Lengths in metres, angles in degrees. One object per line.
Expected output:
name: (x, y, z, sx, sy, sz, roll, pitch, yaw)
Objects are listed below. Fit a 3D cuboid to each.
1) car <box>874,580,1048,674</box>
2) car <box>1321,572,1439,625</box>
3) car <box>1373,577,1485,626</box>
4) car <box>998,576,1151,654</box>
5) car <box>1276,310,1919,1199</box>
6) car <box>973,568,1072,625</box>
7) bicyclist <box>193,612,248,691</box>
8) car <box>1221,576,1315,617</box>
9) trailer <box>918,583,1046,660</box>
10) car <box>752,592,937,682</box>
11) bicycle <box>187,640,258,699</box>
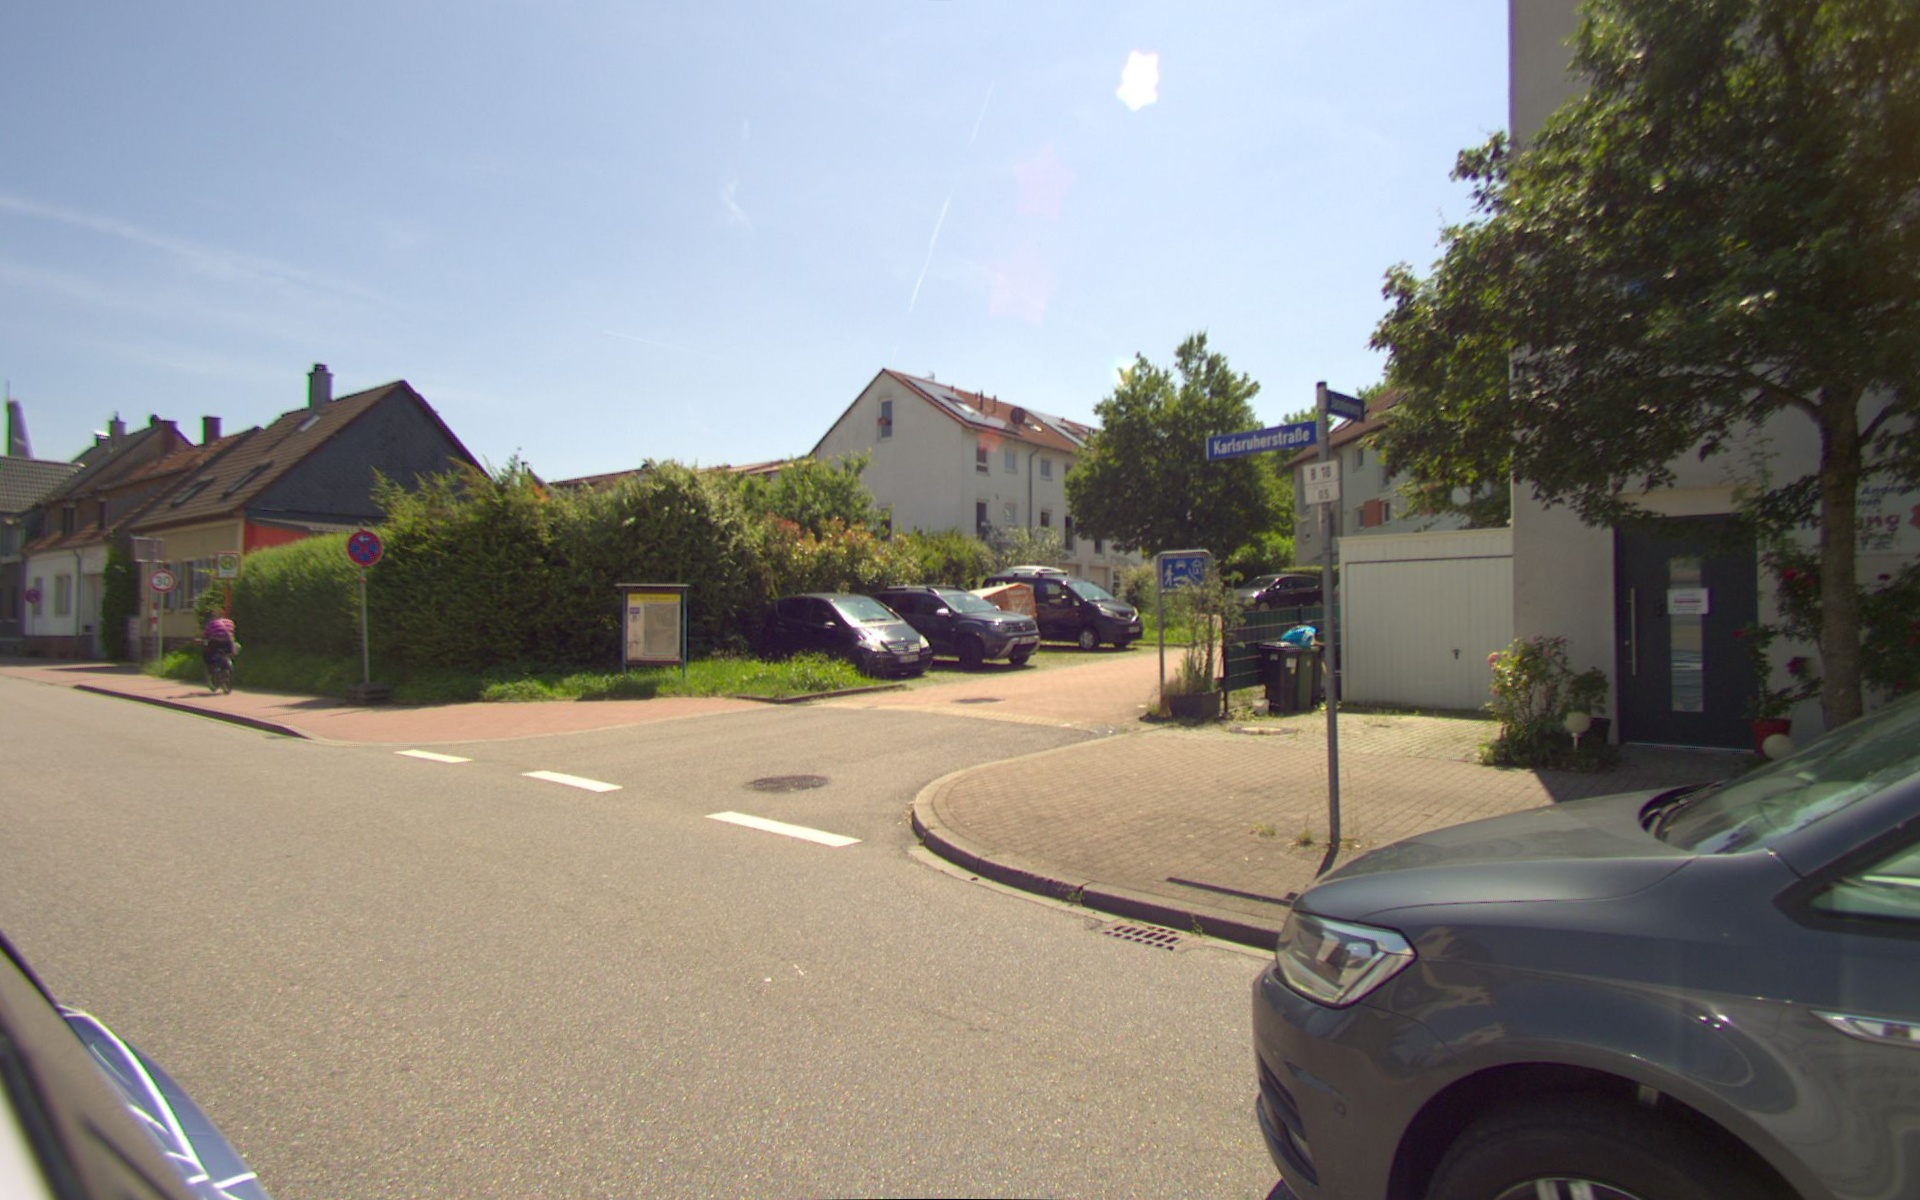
car: (-0.031, 0.528, 21.421, 3.511, 1.793, 1.605, -1, 1, 44)
car: (14.131, -0.079, 34.019, 3.933, 1.635, 1.754, -2, 1, -33)
car: (14.852, 0.026, 31.949, 3.937, 1.439, 1.695, -2, 0, -41)
car: (2.829, 0.354, 25.385, 3.552, 1.794, 1.605, -1, 1, 44)
car: (2.847, 0.528, 1.191, 4.462, 1.869, 1.638, -2, -4, 41)
car: (2.082, -0.128, 32.948, 1.419, 1.747, 3.594, -1, 1, 38)
bicyclist: (-14.745, 1.011, 20.182, 0.909, 1.505, 0.652, -1, 1, 40)
car: (11.589, -0.120, 38.030, 3.580, 1.463, 1.595, -1, -1, -39)
trailer: (0.514, 0.501, 24.222, 2.688, 1.676, 1.413, -1, 2, 37)
car: (-2.316, 0.683, 19.785, 3.653, 1.552, 1.605, -1, 1, 44)
bicycle: (-14.721, 1.350, 20.176, 2.025, 1.064, 0.664, -1, 1, 41)
